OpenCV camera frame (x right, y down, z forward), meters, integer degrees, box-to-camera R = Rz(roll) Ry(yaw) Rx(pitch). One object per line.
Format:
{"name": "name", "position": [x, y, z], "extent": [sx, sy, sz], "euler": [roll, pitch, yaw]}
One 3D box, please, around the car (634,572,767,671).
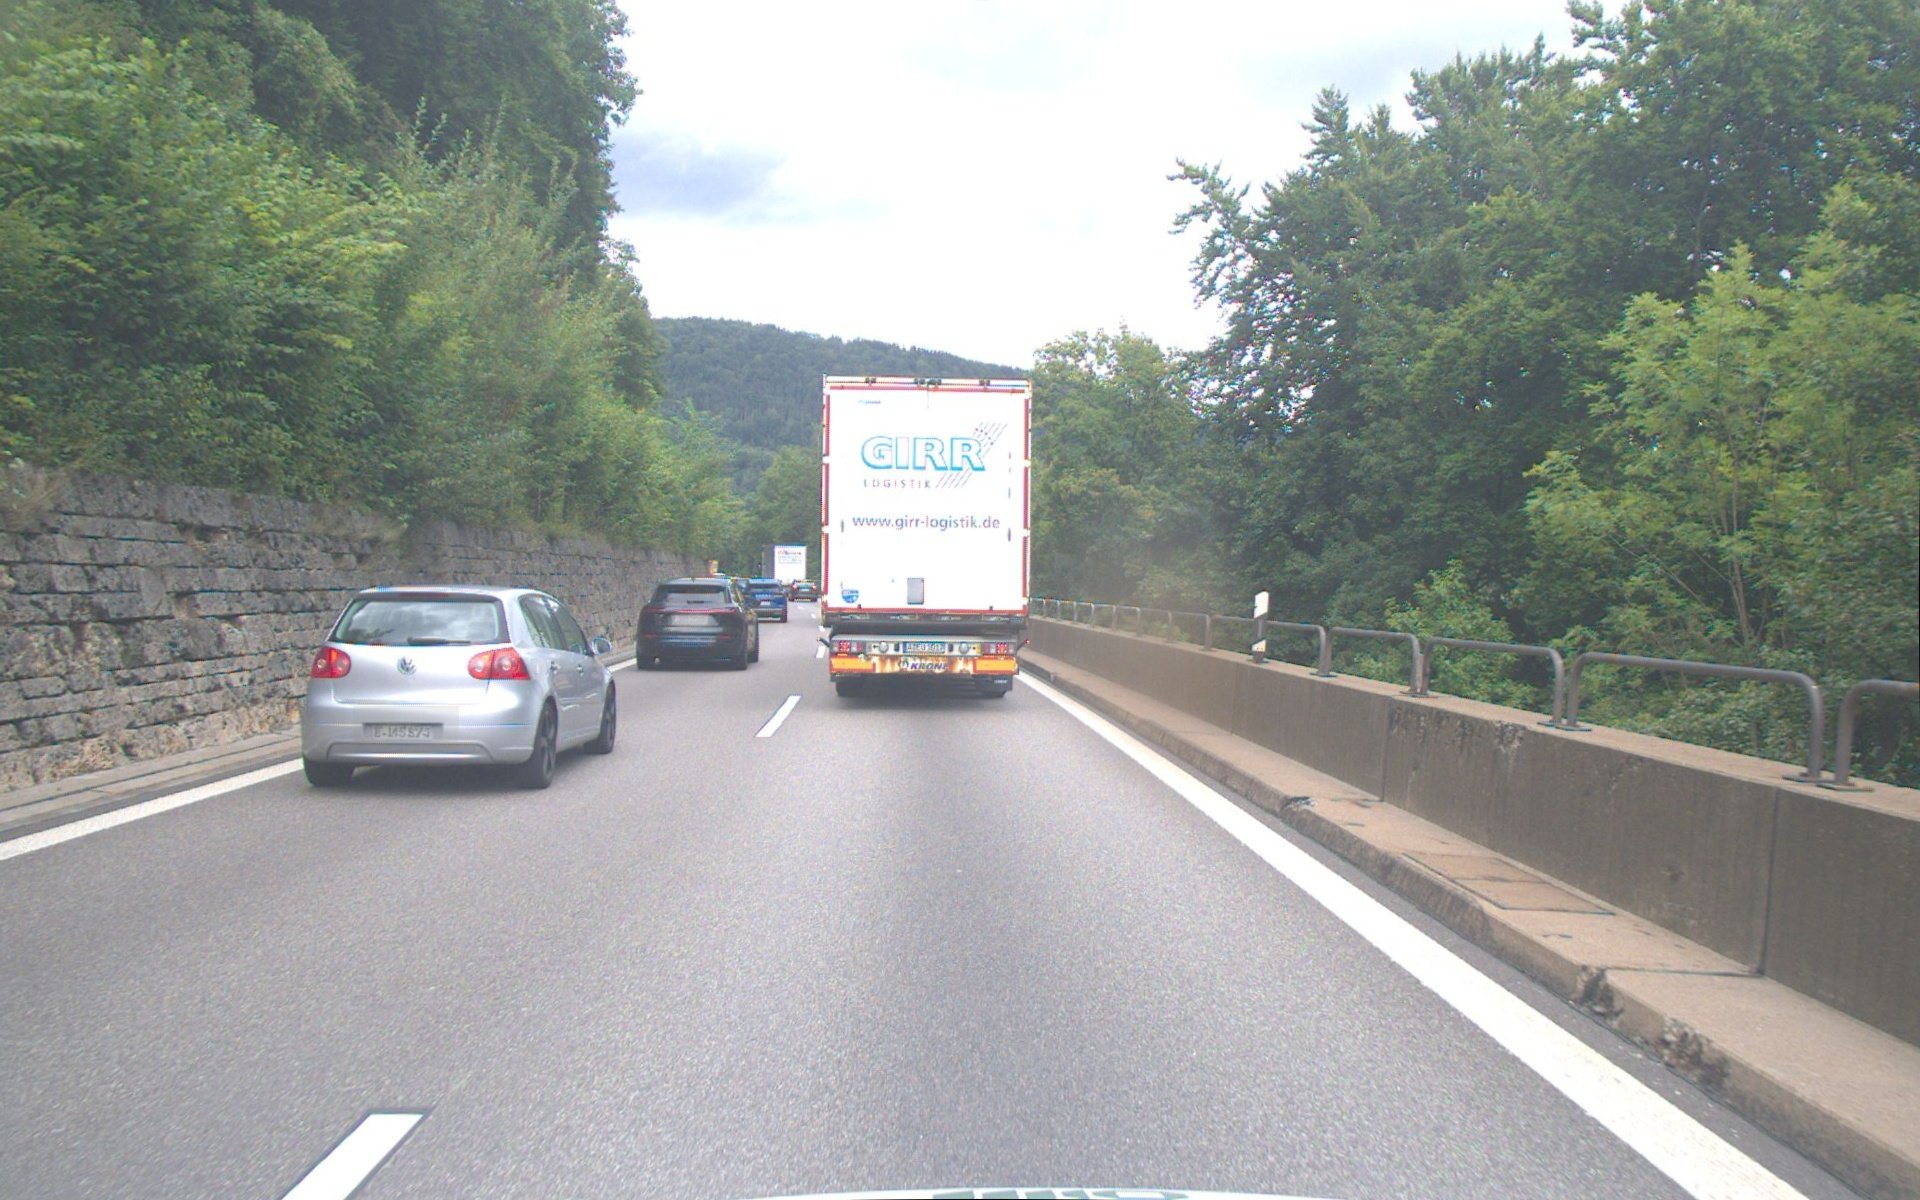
{"name": "car", "position": [-4.704, 0.355, 30.618], "extent": [1.954, 1.660, 5.005], "euler": [0, 0, -4]}

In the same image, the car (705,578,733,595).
{"name": "car", "position": [-24.591, -1.400, 168.591], "extent": [1.869, 1.577, 4.223], "euler": [2, 0, -21]}

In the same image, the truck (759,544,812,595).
{"name": "truck", "position": [-14.050, -2.356, 132.270], "extent": [2.590, 3.925, 12.313], "euler": [0, 0, -14]}

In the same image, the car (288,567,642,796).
{"name": "car", "position": [-3.801, 0.597, 13.544], "extent": [1.647, 1.542, 4.581], "euler": [1, -1, -2]}

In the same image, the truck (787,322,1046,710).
{"name": "truck", "position": [-0.789, -1.024, 27.057], "extent": [3.022, 4.542, 15.149], "euler": [0, 0, -2]}

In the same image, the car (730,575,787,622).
{"name": "car", "position": [-7.816, -0.096, 63.824], "extent": [1.957, 1.660, 4.997], "euler": [0, 1, -10]}

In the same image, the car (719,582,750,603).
{"name": "car", "position": [-18.382, -0.628, 134.449], "extent": [1.961, 1.624, 4.336], "euler": [-1, 1, -15]}

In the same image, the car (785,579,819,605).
{"name": "car", "position": [-10.568, -0.511, 110.421], "extent": [2.022, 1.683, 3.992], "euler": [0, 0, -9]}
